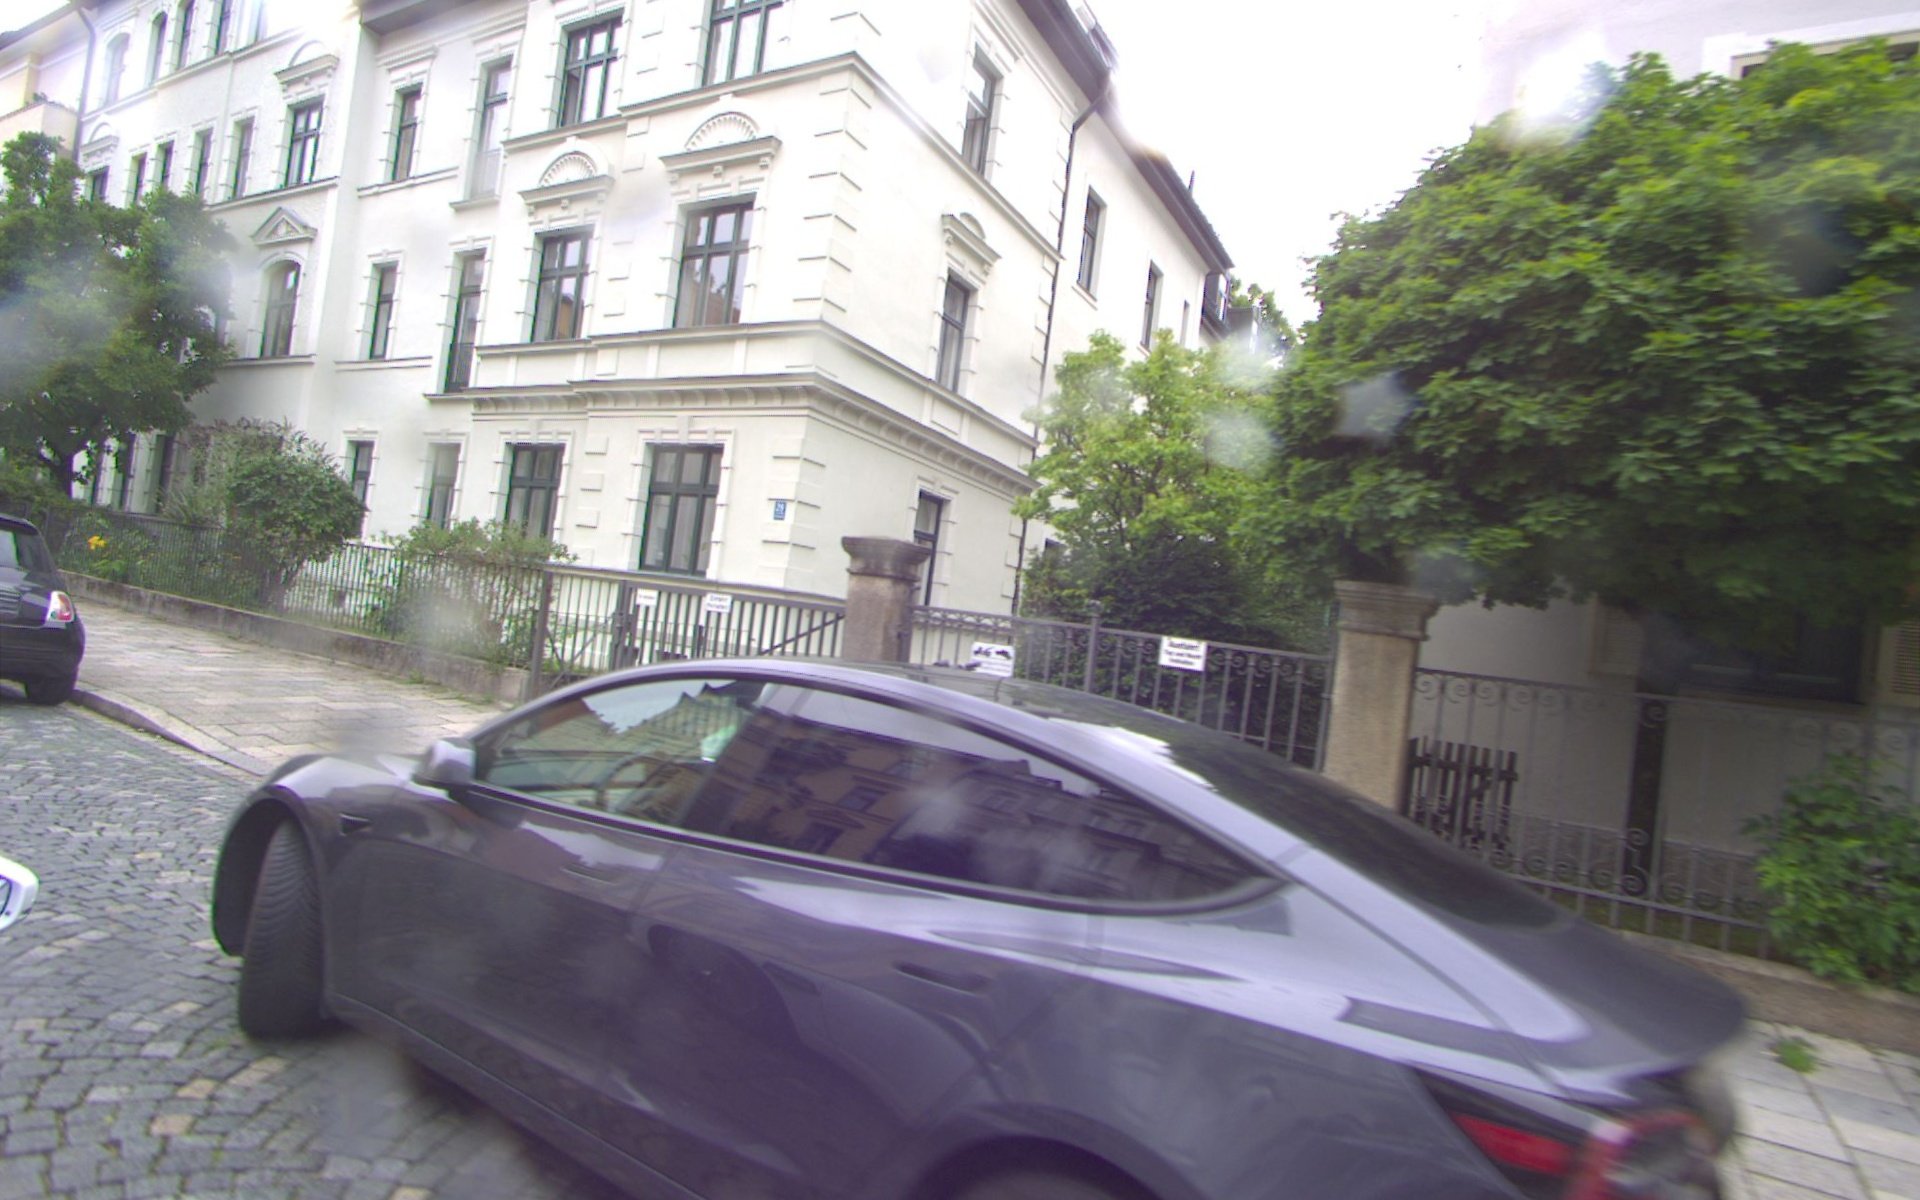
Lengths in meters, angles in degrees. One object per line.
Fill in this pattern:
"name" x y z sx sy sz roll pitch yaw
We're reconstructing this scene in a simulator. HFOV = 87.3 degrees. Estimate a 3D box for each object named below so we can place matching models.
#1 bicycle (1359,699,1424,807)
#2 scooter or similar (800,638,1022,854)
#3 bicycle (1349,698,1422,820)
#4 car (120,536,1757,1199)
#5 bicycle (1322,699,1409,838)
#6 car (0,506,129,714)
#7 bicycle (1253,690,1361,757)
"bicycle" 5.385 1.896 12.517 0.393 1.230 1.341 6 -3 34
"scooter or similar" -0.361 0.966 7.011 1.445 1.233 0.442 6 4 28
"bicycle" 4.769 1.764 11.231 0.393 1.230 1.341 6 -3 34
"car" -0.521 0.837 3.182 4.459 1.481 1.942 6 -3 33
"bicycle" 4.033 1.634 9.954 0.393 1.231 1.448 6 -2 34
"car" -8.843 -0.129 8.383 3.624 1.524 1.672 7 -4 31
"bicycle" 6.659 2.345 19.340 1.779 1.021 0.664 4 0 34
